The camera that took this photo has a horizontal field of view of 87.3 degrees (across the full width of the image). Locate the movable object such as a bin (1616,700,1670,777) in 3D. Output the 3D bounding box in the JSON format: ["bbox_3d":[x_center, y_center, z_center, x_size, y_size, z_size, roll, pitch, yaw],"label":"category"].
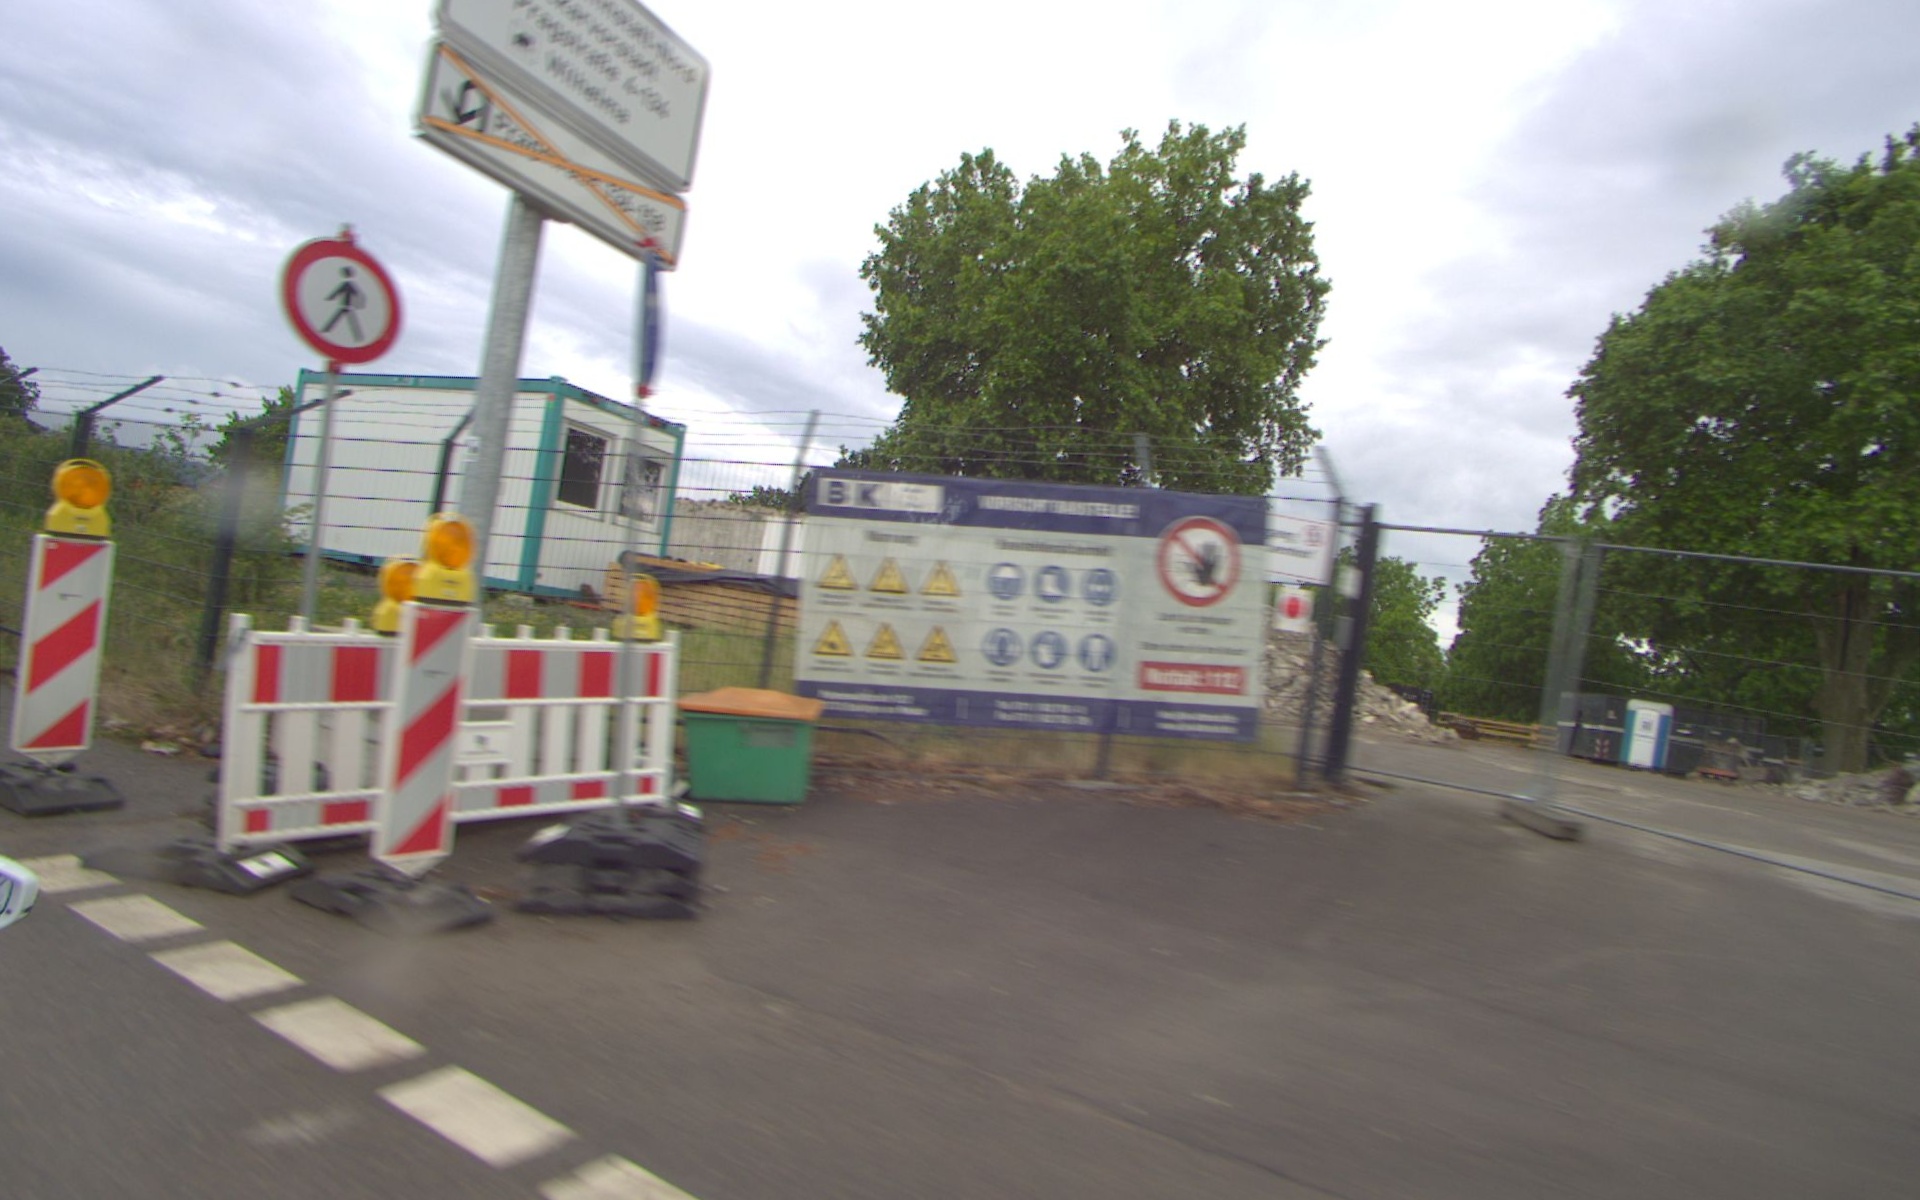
[{"bbox_3d":[21.949,4.443,32.320,1.094,2.278,1.377,6,-2,42],"label":"movable object such as a bin"}]
